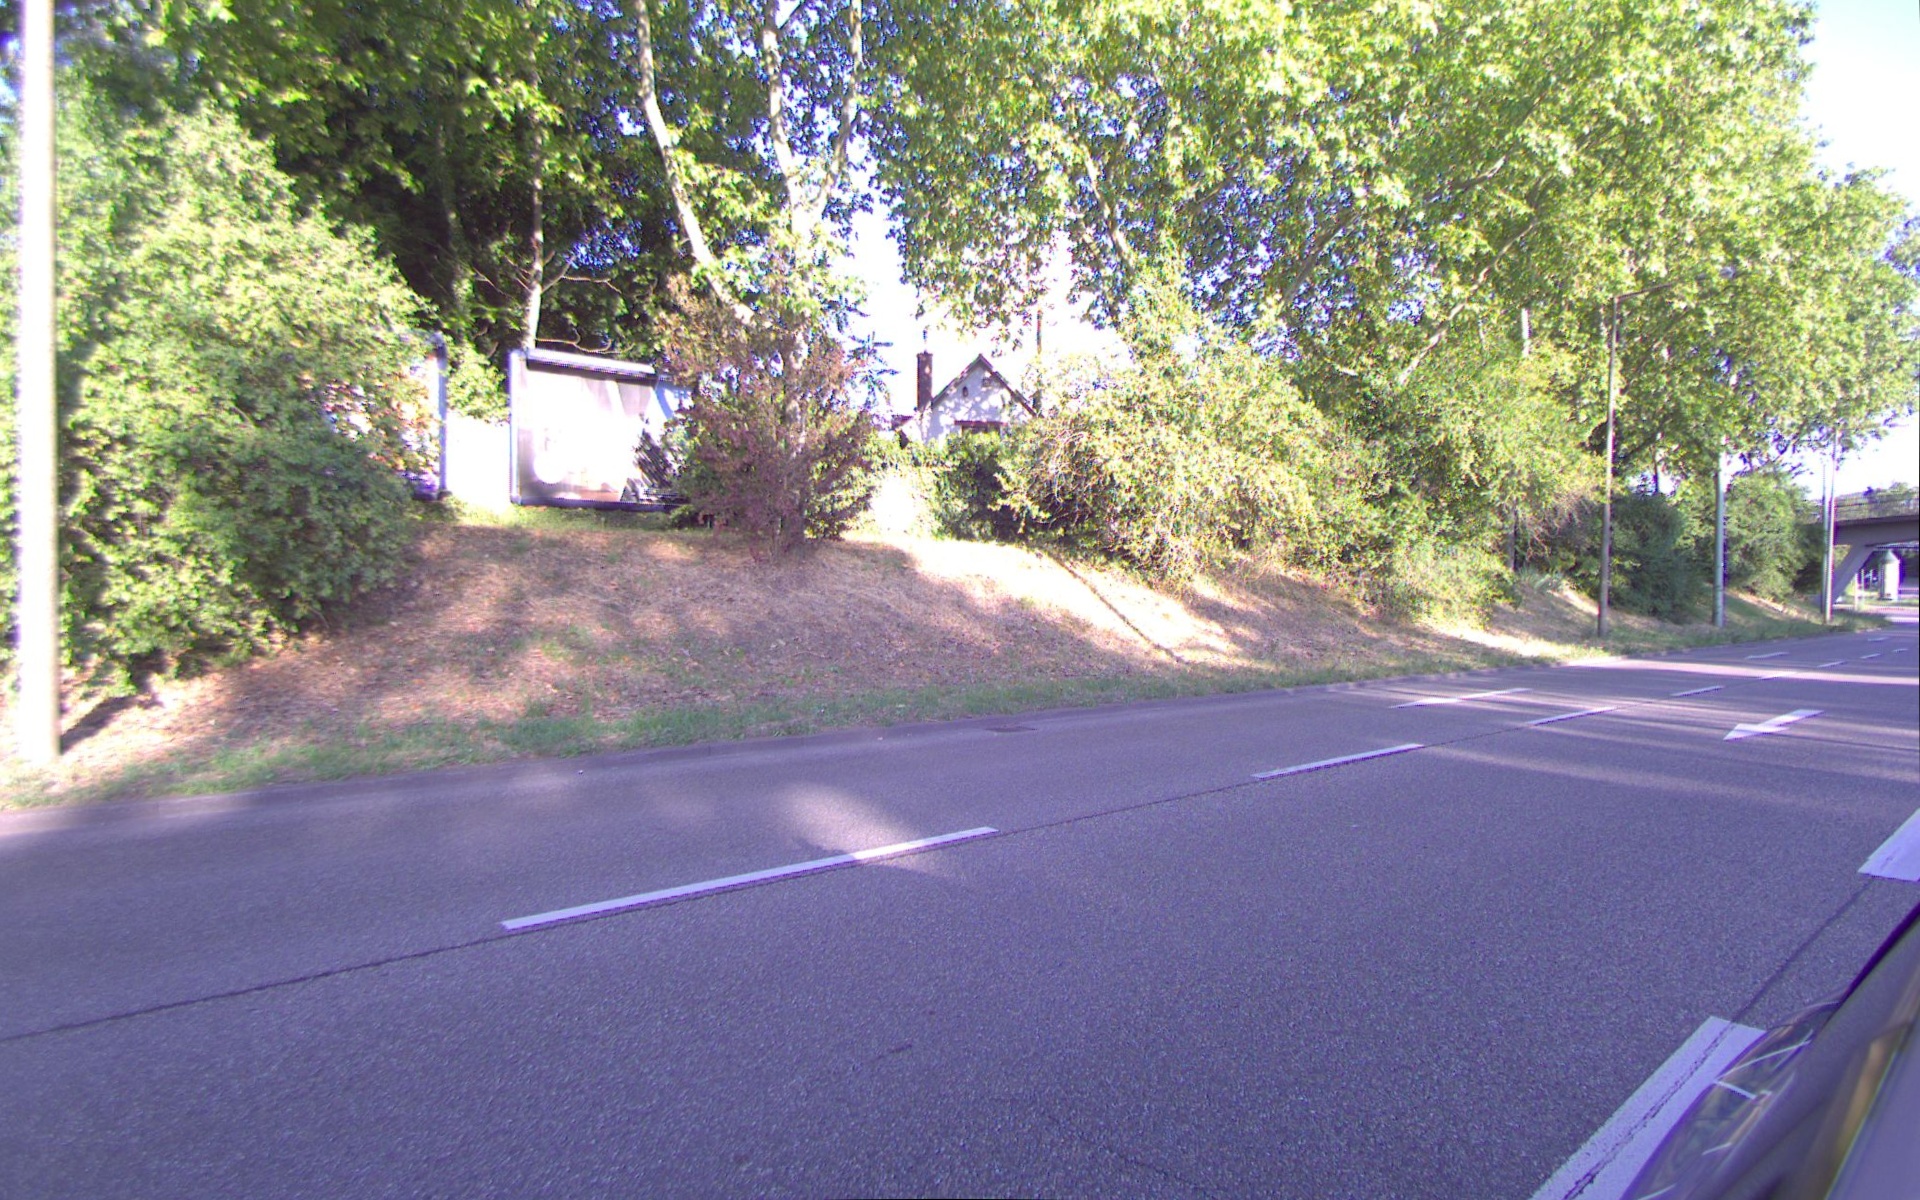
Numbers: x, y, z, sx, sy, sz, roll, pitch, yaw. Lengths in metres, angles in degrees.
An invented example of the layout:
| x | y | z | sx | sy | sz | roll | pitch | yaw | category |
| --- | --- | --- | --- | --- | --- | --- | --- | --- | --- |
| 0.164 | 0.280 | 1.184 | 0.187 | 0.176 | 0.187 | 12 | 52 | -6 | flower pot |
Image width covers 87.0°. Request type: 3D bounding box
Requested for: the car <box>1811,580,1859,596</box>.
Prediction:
| x | y | z | sx | sy | sz | roll | pitch | yaw | category |
| --- | --- | --- | --- | --- | --- | --- | --- | --- | --- |
| 88.763 | -1.186 | 102.671 | 1.578 | 1.589 | 3.377 | 1 | 0 | -24 | car |
